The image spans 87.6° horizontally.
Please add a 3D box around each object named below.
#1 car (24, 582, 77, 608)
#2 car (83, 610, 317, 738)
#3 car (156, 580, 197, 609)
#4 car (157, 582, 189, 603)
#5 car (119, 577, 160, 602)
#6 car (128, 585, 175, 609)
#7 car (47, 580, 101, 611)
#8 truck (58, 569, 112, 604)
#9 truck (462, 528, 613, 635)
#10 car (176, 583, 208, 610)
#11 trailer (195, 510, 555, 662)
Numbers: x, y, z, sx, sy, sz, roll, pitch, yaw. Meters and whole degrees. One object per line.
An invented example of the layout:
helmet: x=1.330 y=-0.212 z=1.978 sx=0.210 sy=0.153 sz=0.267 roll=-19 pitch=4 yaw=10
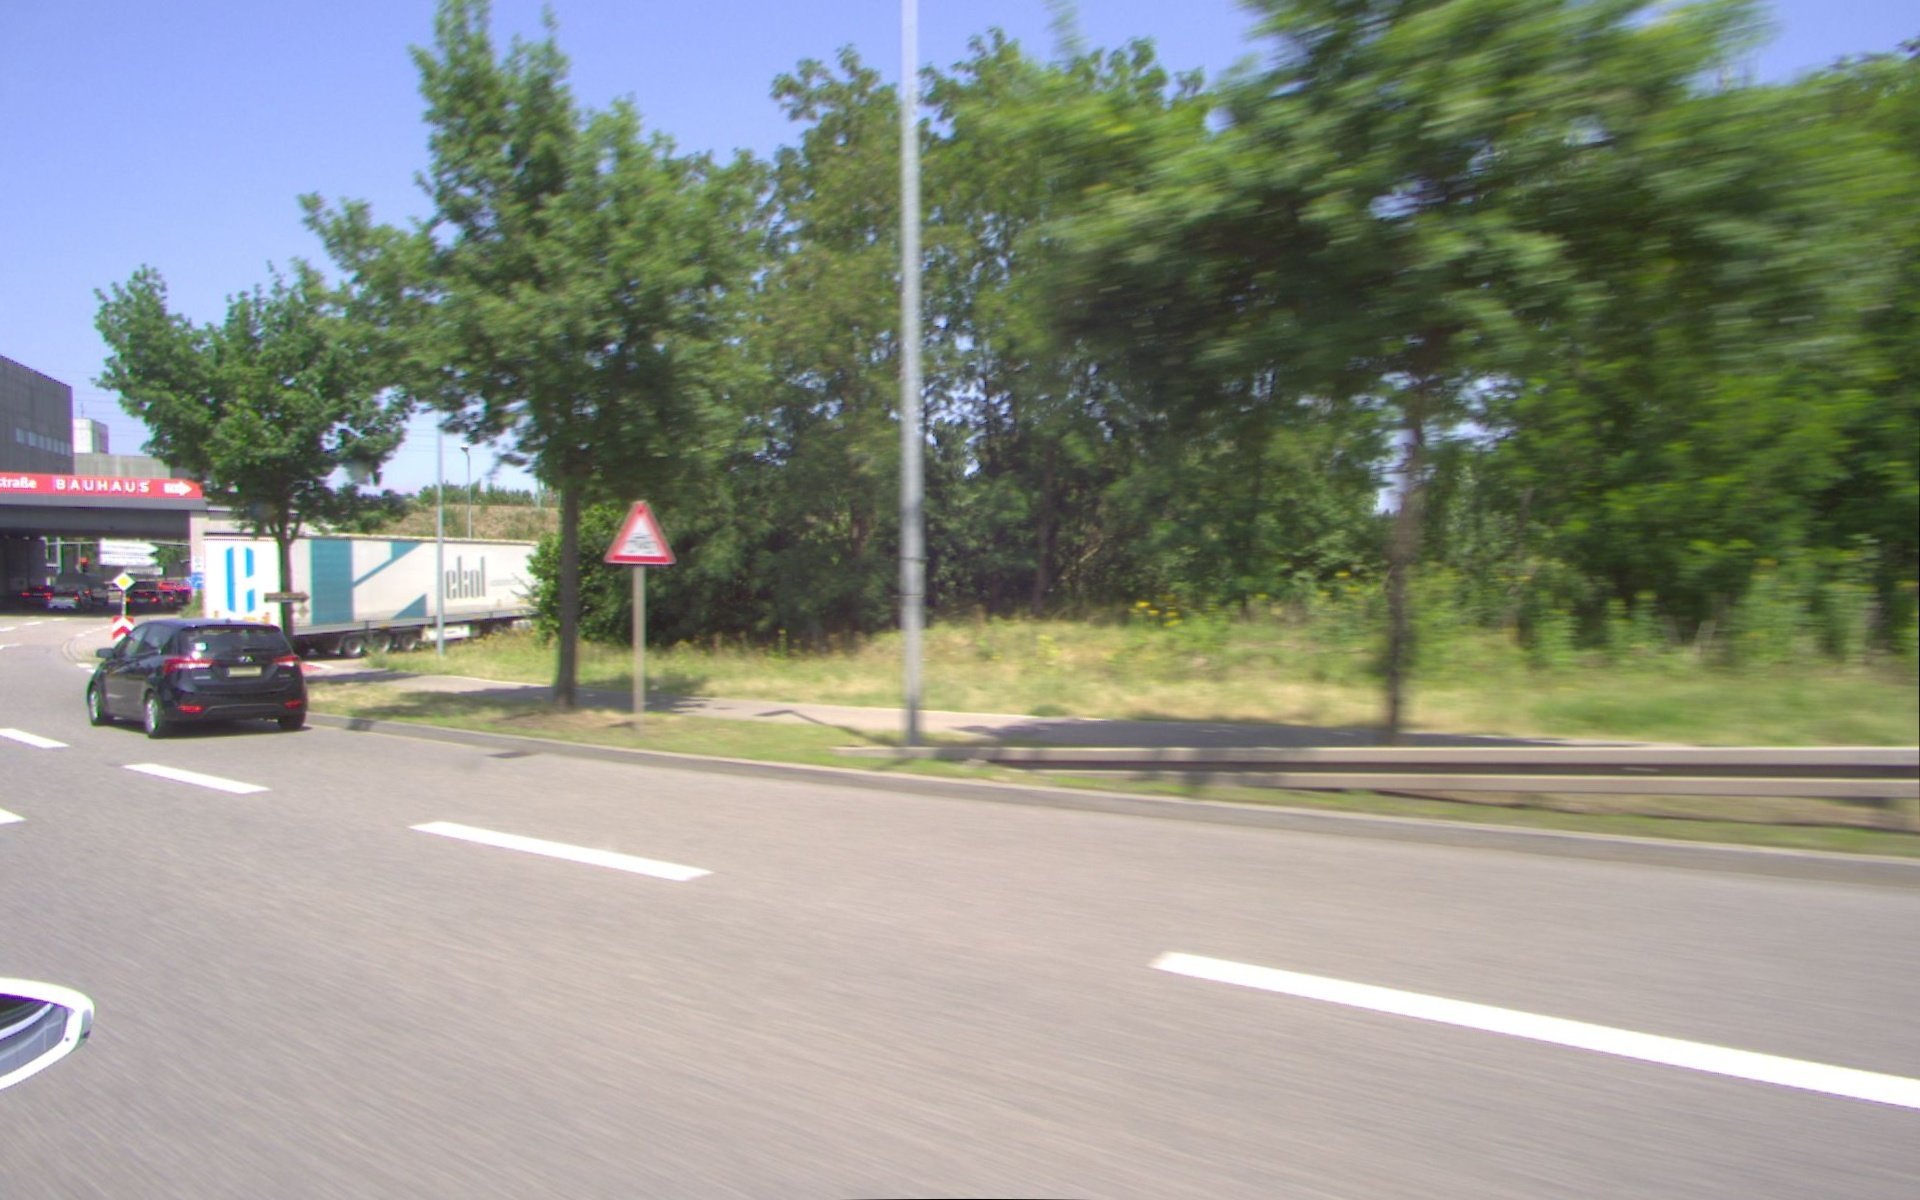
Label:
car: x=-63.748 y=-0.343 z=70.250 sx=1.918 sy=1.744 sz=3.979 roll=0 pitch=0 yaw=-29
car: x=-11.192 y=0.985 z=14.660 sx=4.026 sy=1.619 sz=1.761 roll=-1 pitch=-2 yaw=38
car: x=-57.946 y=-0.433 z=74.109 sx=1.713 sy=2.041 sz=3.777 roll=-3 pitch=2 yaw=-29
car: x=-80.454 y=-0.773 z=102.385 sx=1.972 sy=2.041 sz=3.977 roll=0 pitch=1 yaw=-30
car: x=-65.429 y=-0.829 z=79.881 sx=1.820 sy=1.915 sz=3.979 roll=0 pitch=0 yaw=-29
car: x=-55.599 y=-0.182 z=68.926 sx=1.820 sy=1.589 sz=3.979 roll=0 pitch=0 yaw=-29
car: x=-57.566 y=-0.287 z=65.143 sx=1.820 sy=1.915 sz=3.979 roll=0 pitch=0 yaw=-29
truck: x=-67.056 y=-1.028 z=76.837 sx=2.041 sy=2.572 sz=3.983 roll=-1 pitch=2 yaw=-25
truck: x=-18.777 y=-0.861 z=44.939 sx=3.030 sy=4.429 sz=6.065 roll=1 pitch=2 yaw=18
car: x=-60.791 y=-0.263 z=79.280 sx=1.604 sy=2.041 sz=3.517 roll=-3 pitch=2 yaw=-32
trailer: x=-20.336 y=-0.479 z=36.981 sx=3.028 sy=4.427 sz=14.766 roll=2 pitch=1 yaw=7
